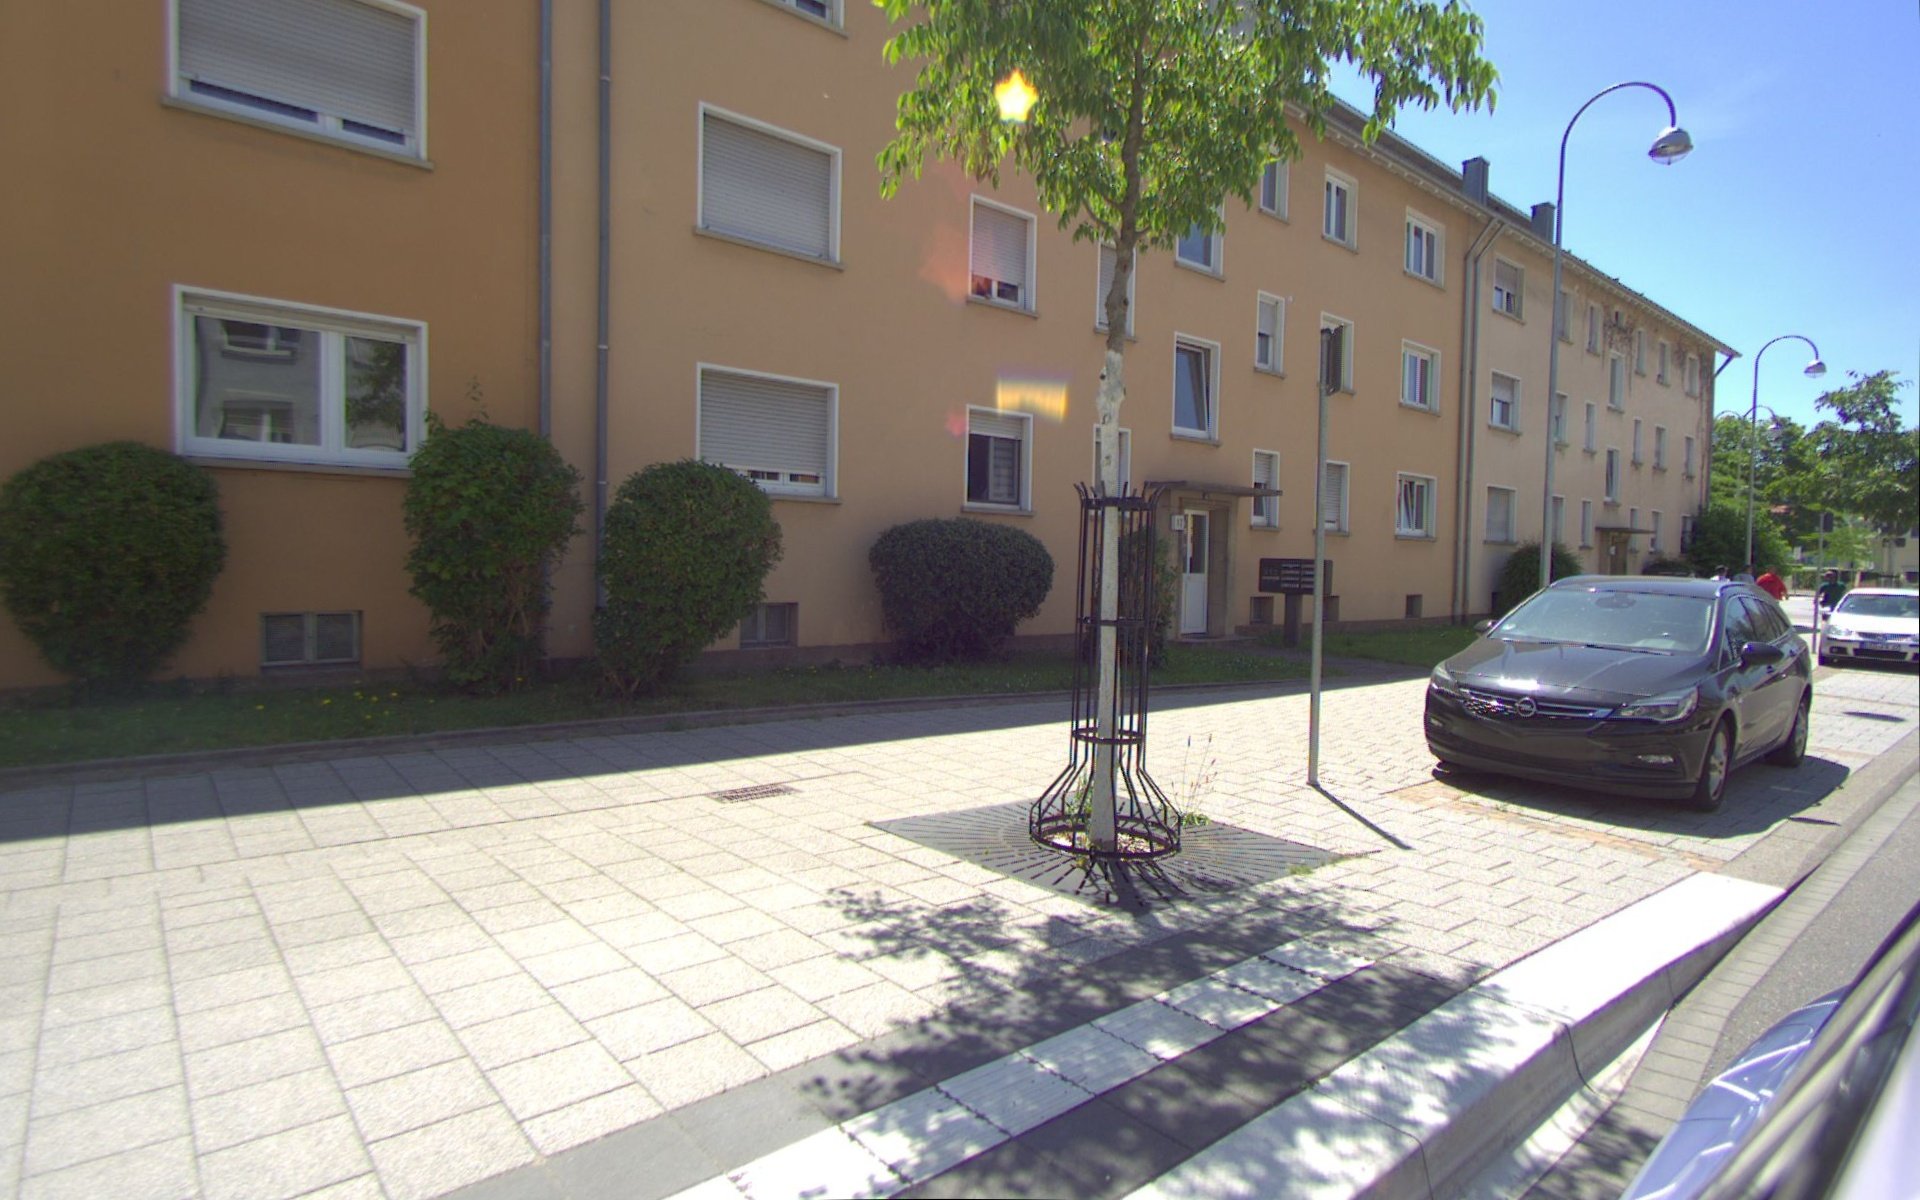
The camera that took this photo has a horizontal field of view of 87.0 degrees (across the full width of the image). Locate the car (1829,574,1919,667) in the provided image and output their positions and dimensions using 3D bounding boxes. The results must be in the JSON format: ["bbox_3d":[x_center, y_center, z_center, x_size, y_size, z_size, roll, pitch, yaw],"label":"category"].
[{"bbox_3d":[17.727,0.311,18.956,4.434,1.494,1.815,-2,5,-45],"label":"car"}]

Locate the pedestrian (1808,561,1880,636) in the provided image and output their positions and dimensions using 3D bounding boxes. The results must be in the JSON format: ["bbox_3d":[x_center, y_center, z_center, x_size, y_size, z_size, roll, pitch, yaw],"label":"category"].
[{"bbox_3d":[22.247,-0.072,25.469,1.172,1.753,1.172,6,6,45],"label":"pedestrian"}]

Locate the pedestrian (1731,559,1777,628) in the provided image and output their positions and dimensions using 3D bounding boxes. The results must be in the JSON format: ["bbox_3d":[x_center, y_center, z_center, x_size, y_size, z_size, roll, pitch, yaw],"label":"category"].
[{"bbox_3d":[21.190,-0.182,27.023,0.992,1.800,0.794,-1,2,-44],"label":"pedestrian"}]

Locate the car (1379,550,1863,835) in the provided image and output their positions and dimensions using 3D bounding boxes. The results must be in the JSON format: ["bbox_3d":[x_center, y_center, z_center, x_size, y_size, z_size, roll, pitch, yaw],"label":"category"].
[{"bbox_3d":[5.408,0.463,7.952,4.975,1.522,1.838,-1,4,-41],"label":"car"}]

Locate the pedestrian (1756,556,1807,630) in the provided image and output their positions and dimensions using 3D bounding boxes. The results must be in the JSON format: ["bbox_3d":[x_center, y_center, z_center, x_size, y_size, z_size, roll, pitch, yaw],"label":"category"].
[{"bbox_3d":[21.020,-0.191,25.908,0.989,1.833,0.789,-1,5,-44],"label":"pedestrian"}]

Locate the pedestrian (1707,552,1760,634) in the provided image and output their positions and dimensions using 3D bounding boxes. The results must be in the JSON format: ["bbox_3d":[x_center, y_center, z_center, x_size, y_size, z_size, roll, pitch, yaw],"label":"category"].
[{"bbox_3d":[18.230,-0.172,23.849,0.968,1.876,0.821,0,2,-44],"label":"pedestrian"}]
